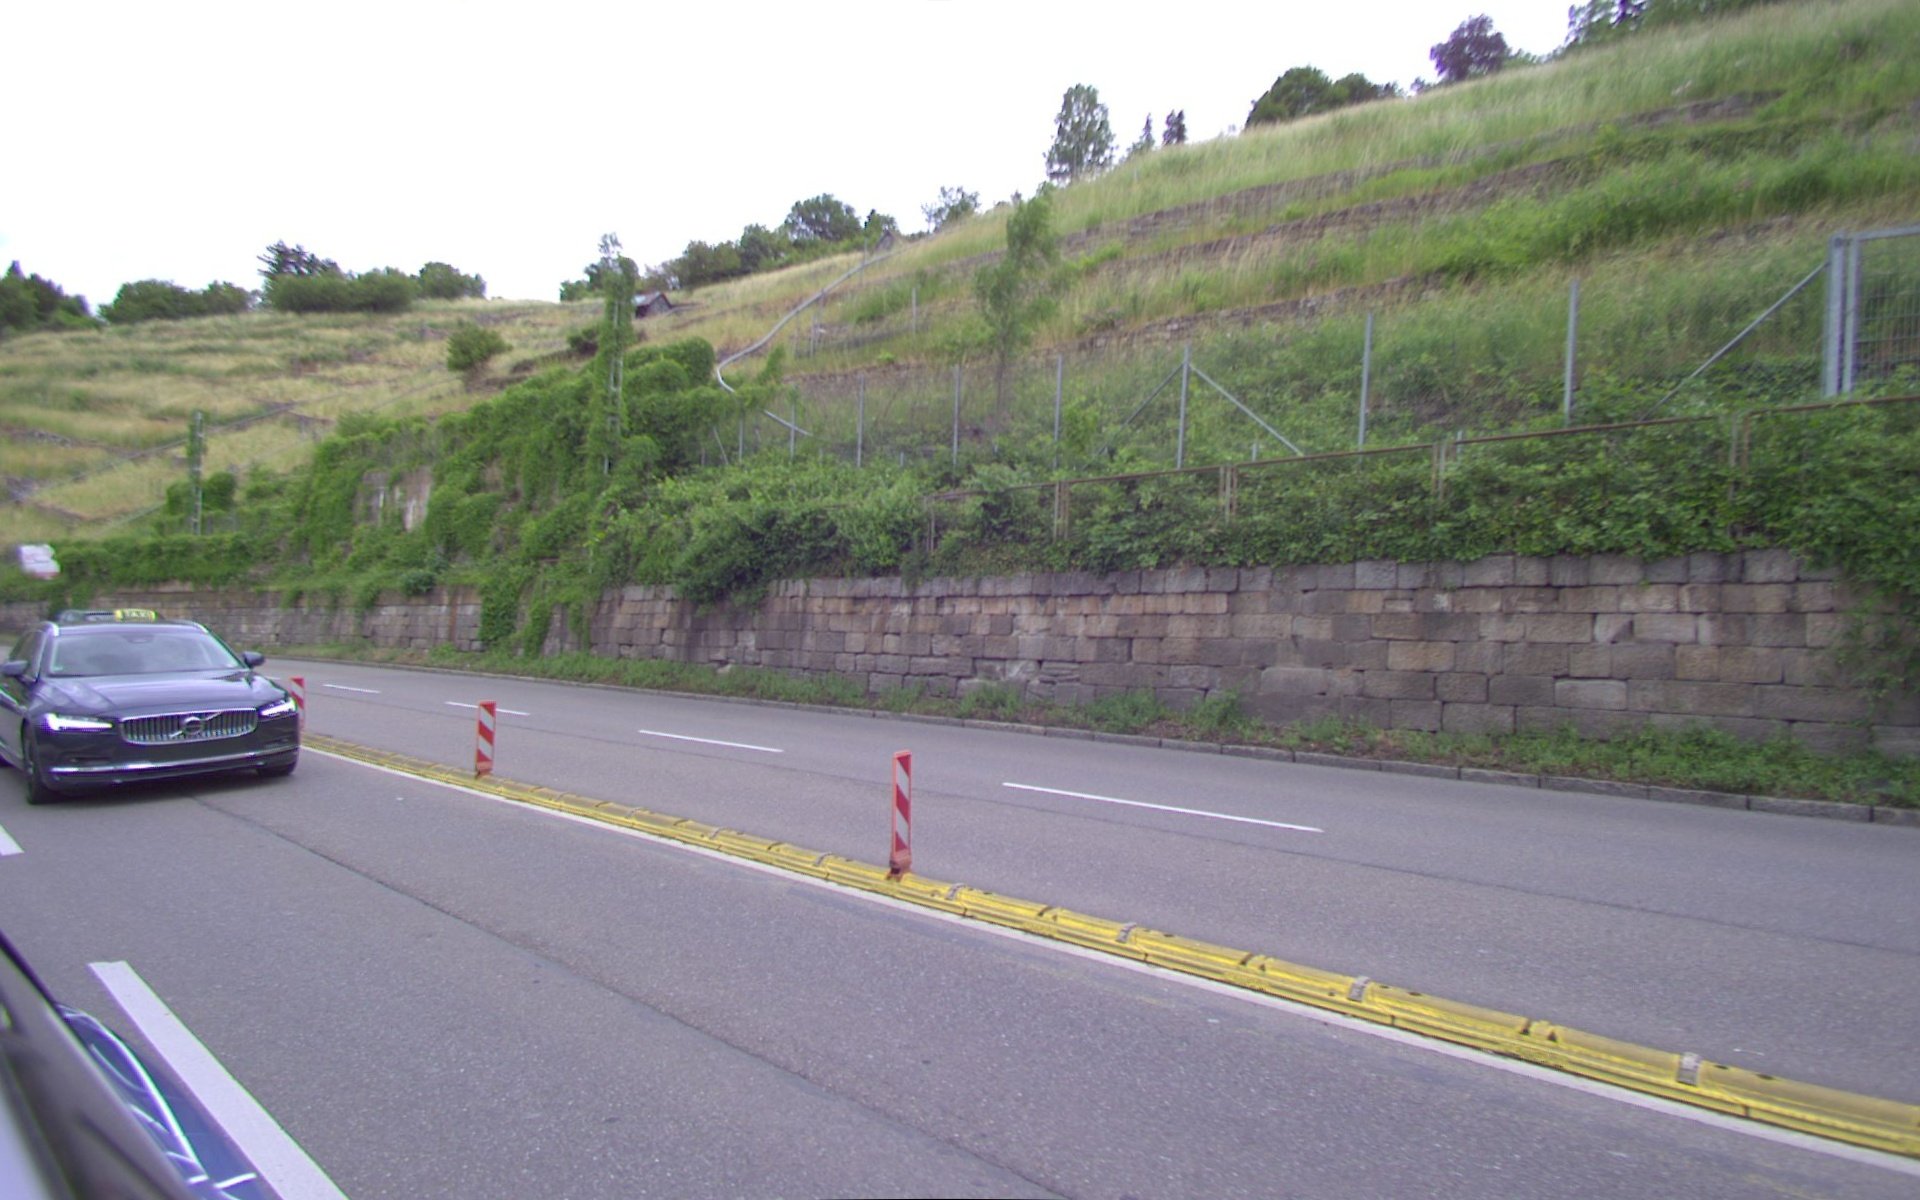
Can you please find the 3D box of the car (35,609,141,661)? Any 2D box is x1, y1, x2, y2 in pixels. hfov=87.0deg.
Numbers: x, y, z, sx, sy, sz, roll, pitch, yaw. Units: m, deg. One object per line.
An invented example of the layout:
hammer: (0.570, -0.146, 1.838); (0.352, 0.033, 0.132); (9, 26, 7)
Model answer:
car: (-30.852, 1.194, 35.778); (3.990, 1.705, 1.892); (-1, 0, 34)

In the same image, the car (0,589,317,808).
car: (-8.122, 0.746, 9.756); (5.024, 1.588, 1.915); (-1, 0, 41)
